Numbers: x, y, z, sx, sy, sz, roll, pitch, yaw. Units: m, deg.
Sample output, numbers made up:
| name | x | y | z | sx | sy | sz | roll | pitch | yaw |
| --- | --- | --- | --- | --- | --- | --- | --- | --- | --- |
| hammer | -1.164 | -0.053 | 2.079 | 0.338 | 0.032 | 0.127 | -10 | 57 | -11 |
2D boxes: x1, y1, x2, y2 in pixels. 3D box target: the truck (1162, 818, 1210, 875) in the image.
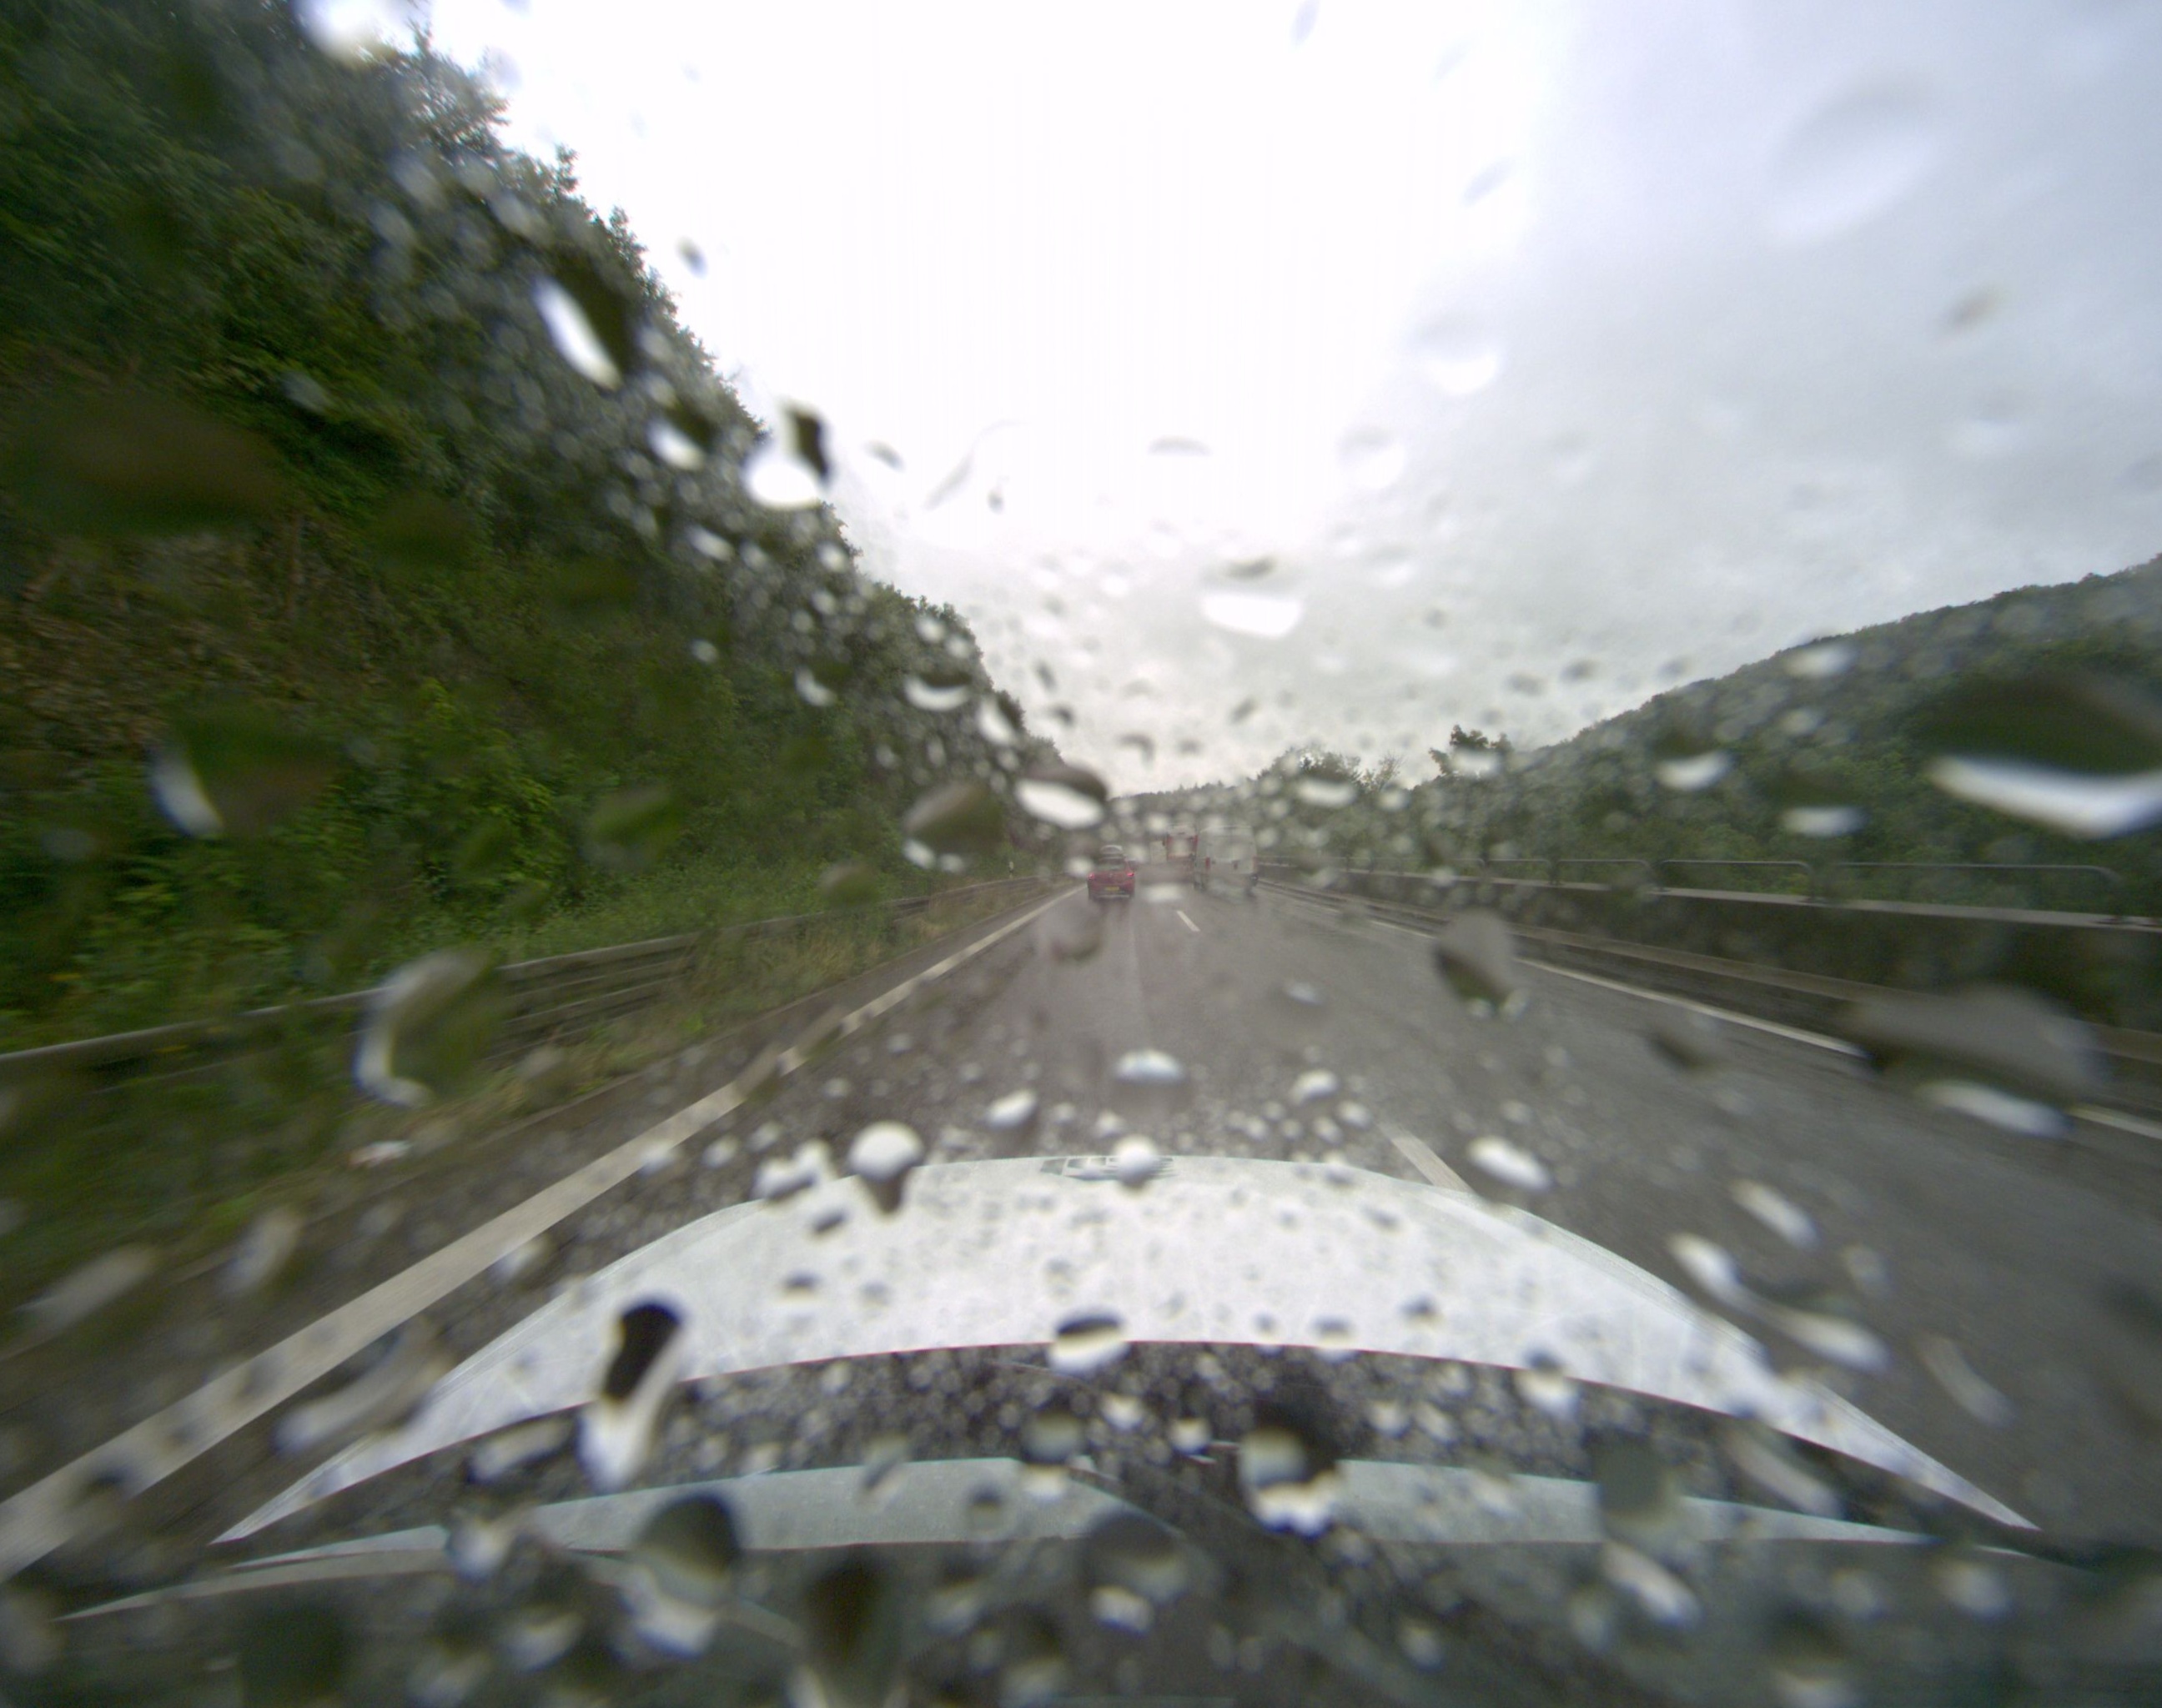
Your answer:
| name | x | y | z | sx | sy | sz | roll | pitch | yaw |
| --- | --- | --- | --- | --- | --- | --- | --- | --- | --- |
| truck | 7.841 | -0.502 | 61.250 | 3.203 | 3.978 | 5.448 | -3 | -1 | 6 |

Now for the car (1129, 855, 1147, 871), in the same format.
| name | x | y | z | sx | sy | sz | roll | pitch | yaw |
| --- | --- | --- | --- | --- | --- | --- | --- | --- | --- |
| car | 6.662 | 1.023 | 95.155 | 1.867 | 1.706 | 3.891 | -5 | -1 | 2 |

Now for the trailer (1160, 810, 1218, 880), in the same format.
| name | x | y | z | sx | sy | sz | roll | pitch | yaw |
| --- | --- | --- | --- | --- | --- | --- | --- | --- | --- |
| trailer | 7.096 | -0.513 | 54.608 | 3.202 | 3.999 | 13.547 | -3 | -1 | 6 |

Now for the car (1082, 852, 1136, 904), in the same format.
| name | x | y | z | sx | sy | sz | roll | pitch | yaw |
| --- | --- | --- | --- | --- | --- | --- | --- | --- | --- |
| car | 1.134 | 0.855 | 30.764 | 1.750 | 1.684 | 4.004 | -5 | -1 | 4 |

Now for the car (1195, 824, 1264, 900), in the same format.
| name | x | y | z | sx | sy | sz | roll | pitch | yaw |
| --- | --- | --- | --- | --- | --- | --- | --- | --- | --- |
| car | 6.005 | 0.315 | 33.825 | 2.195 | 2.794 | 7.394 | -1 | 0 | 6 |

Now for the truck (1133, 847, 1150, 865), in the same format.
| name | x | y | z | sx | sy | sz | roll | pitch | yaw |
| --- | --- | --- | --- | --- | --- | --- | --- | --- | --- |
| truck | 11.469 | 0.391 | 155.242 | 3.049 | 3.312 | 8.076 | -2 | 0 | 3 |

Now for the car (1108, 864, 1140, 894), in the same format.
| name | x | y | z | sx | sy | sz | roll | pitch | yaw |
| --- | --- | --- | --- | --- | --- | --- | --- | --- | --- |
| car | 2.766 | 1.561 | 51.697 | 1.825 | 1.715 | 3.649 | -5 | -1 | 4 |

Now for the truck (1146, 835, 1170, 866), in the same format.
| name | x | y | z | sx | sy | sz | roll | pitch | yaw |
| --- | --- | --- | --- | --- | --- | --- | --- | --- | --- |
| truck | 11.081 | -0.419 | 118.098 | 2.677 | 4.094 | 9.318 | -5 | -1 | 2 |
